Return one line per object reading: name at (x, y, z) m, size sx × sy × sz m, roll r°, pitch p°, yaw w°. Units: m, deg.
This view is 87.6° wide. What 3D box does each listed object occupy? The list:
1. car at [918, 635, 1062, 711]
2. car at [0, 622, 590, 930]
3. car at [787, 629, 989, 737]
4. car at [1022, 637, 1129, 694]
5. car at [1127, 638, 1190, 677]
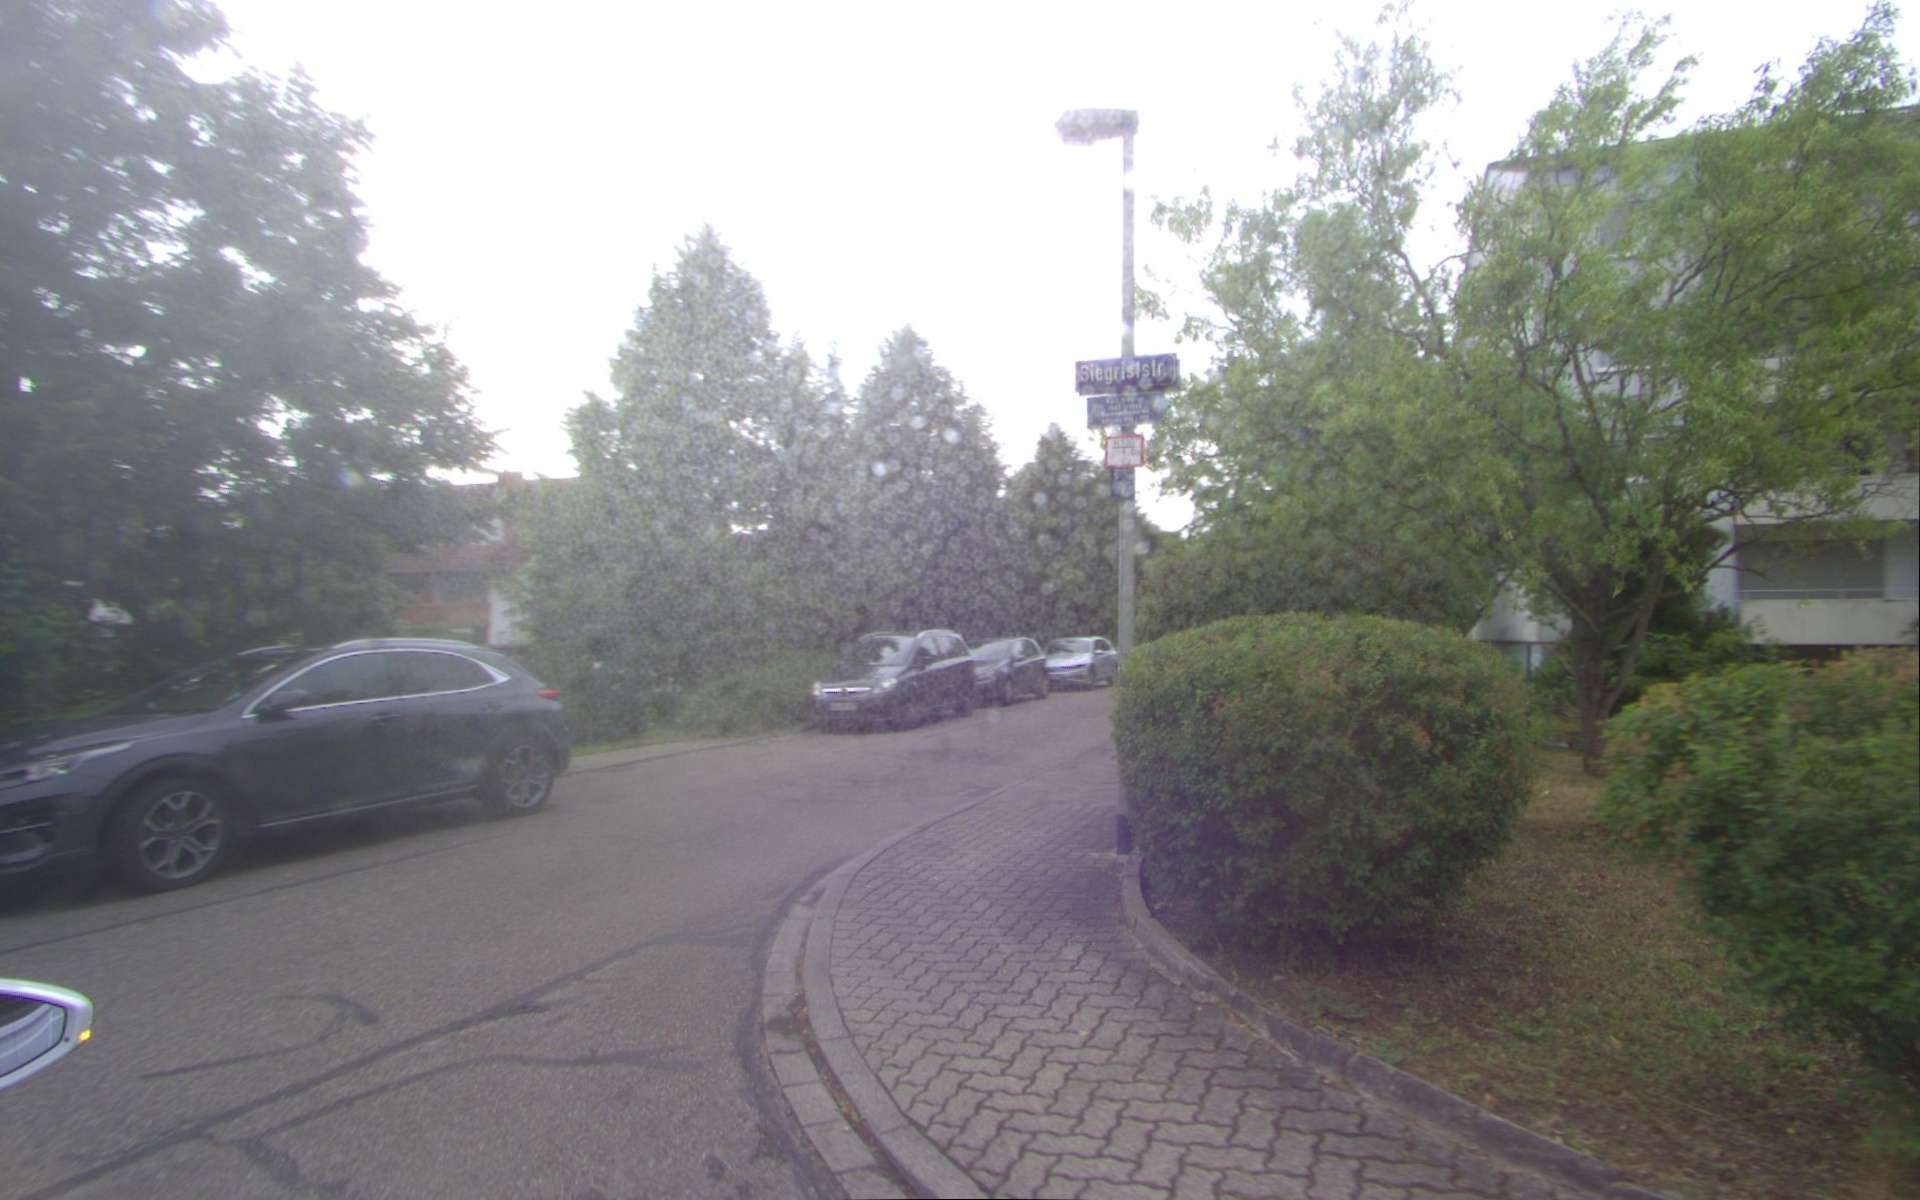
car at (0.788, 1.591, 22.599) m, size 1.734 × 1.497 × 4.295 m, roll -3°, pitch -3°, yaw 23°
car at (-4.876, 0.993, 7.245) m, size 1.718 × 1.550 × 4.185 m, roll -3°, pitch -3°, yaw 23°
car at (-1.084, 1.366, 17.546) m, size 1.733 × 1.613 × 4.544 m, roll -3°, pitch -3°, yaw 21°
car at (3.348, 1.805, 28.262) m, size 1.753 × 1.446 × 4.467 m, roll -3°, pitch -3°, yaw 23°
car at (8.123, 2.303, 40.751) m, size 1.728 × 1.443 × 3.991 m, roll -3°, pitch -3°, yaw 22°
